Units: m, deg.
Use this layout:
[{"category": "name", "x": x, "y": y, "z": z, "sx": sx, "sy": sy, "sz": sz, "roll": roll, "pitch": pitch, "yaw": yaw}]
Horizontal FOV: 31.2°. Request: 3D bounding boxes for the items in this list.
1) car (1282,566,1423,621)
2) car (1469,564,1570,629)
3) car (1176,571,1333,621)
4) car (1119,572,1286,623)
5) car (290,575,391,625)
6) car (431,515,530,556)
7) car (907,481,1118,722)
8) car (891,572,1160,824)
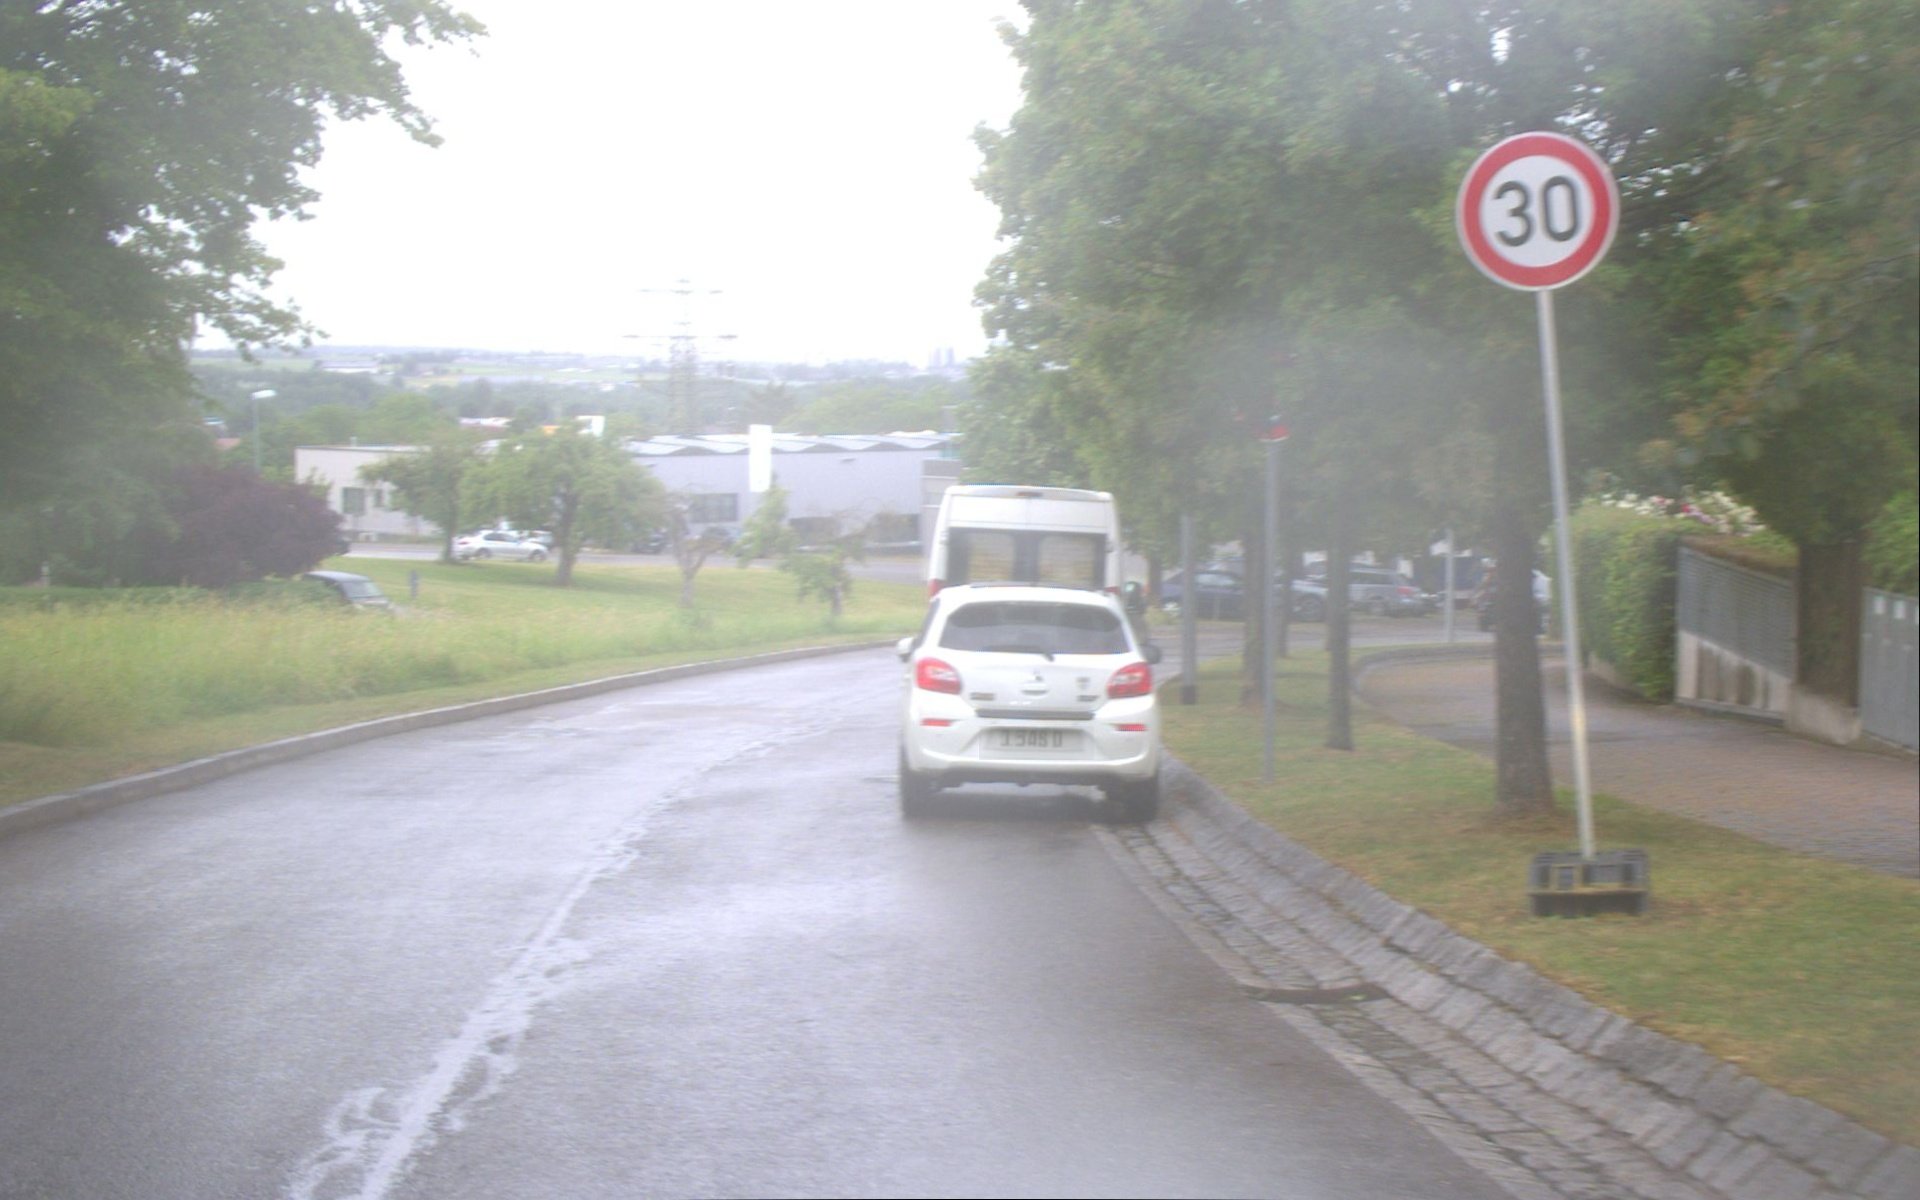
[{"category": "car", "x": 11.705, "y": -0.214, "z": 102.530, "sx": 3.873, "sy": 1.542, "sz": 1.772, "roll": 1, "pitch": 1, "yaw": 19}, {"category": "car", "x": 14.879, "y": -0.106, "z": 91.309, "sx": 1.689, "sy": 1.546, "sz": 3.692, "roll": 3, "pitch": 3, "yaw": 24}, {"category": "car", "x": 8.138, "y": -0.104, "z": 95.067, "sx": 3.991, "sy": 1.356, "sz": 1.852, "roll": 0, "pitch": 0, "yaw": 20}, {"category": "car", "x": 6.594, "y": -0.070, "z": 93.299, "sx": 4.169, "sy": 1.350, "sz": 1.860, "roll": 0, "pitch": 0, "yaw": 20}, {"category": "car", "x": -21.692, "y": -0.005, "z": 120.262, "sx": 1.776, "sy": 1.591, "sz": 3.999, "roll": 0, "pitch": 2, "yaw": -39}, {"category": "car", "x": -22.995, "y": -3.105, "z": 165.047, "sx": 4.262, "sy": 1.696, "sz": 1.797, "roll": 2, "pitch": 3, "yaw": -33}, {"category": "car", "x": 0.667, "y": -0.012, "z": 38.478, "sx": 2.118, "sy": 2.459, "sz": 5.509, "roll": 1, "pitch": 1, "yaw": 3}, {"category": "car", "x": 0.365, "y": 0.588, "z": 22.988, "sx": 1.605, "sy": 1.497, "sz": 3.726, "roll": 1, "pitch": 1, "yaw": -1}]
